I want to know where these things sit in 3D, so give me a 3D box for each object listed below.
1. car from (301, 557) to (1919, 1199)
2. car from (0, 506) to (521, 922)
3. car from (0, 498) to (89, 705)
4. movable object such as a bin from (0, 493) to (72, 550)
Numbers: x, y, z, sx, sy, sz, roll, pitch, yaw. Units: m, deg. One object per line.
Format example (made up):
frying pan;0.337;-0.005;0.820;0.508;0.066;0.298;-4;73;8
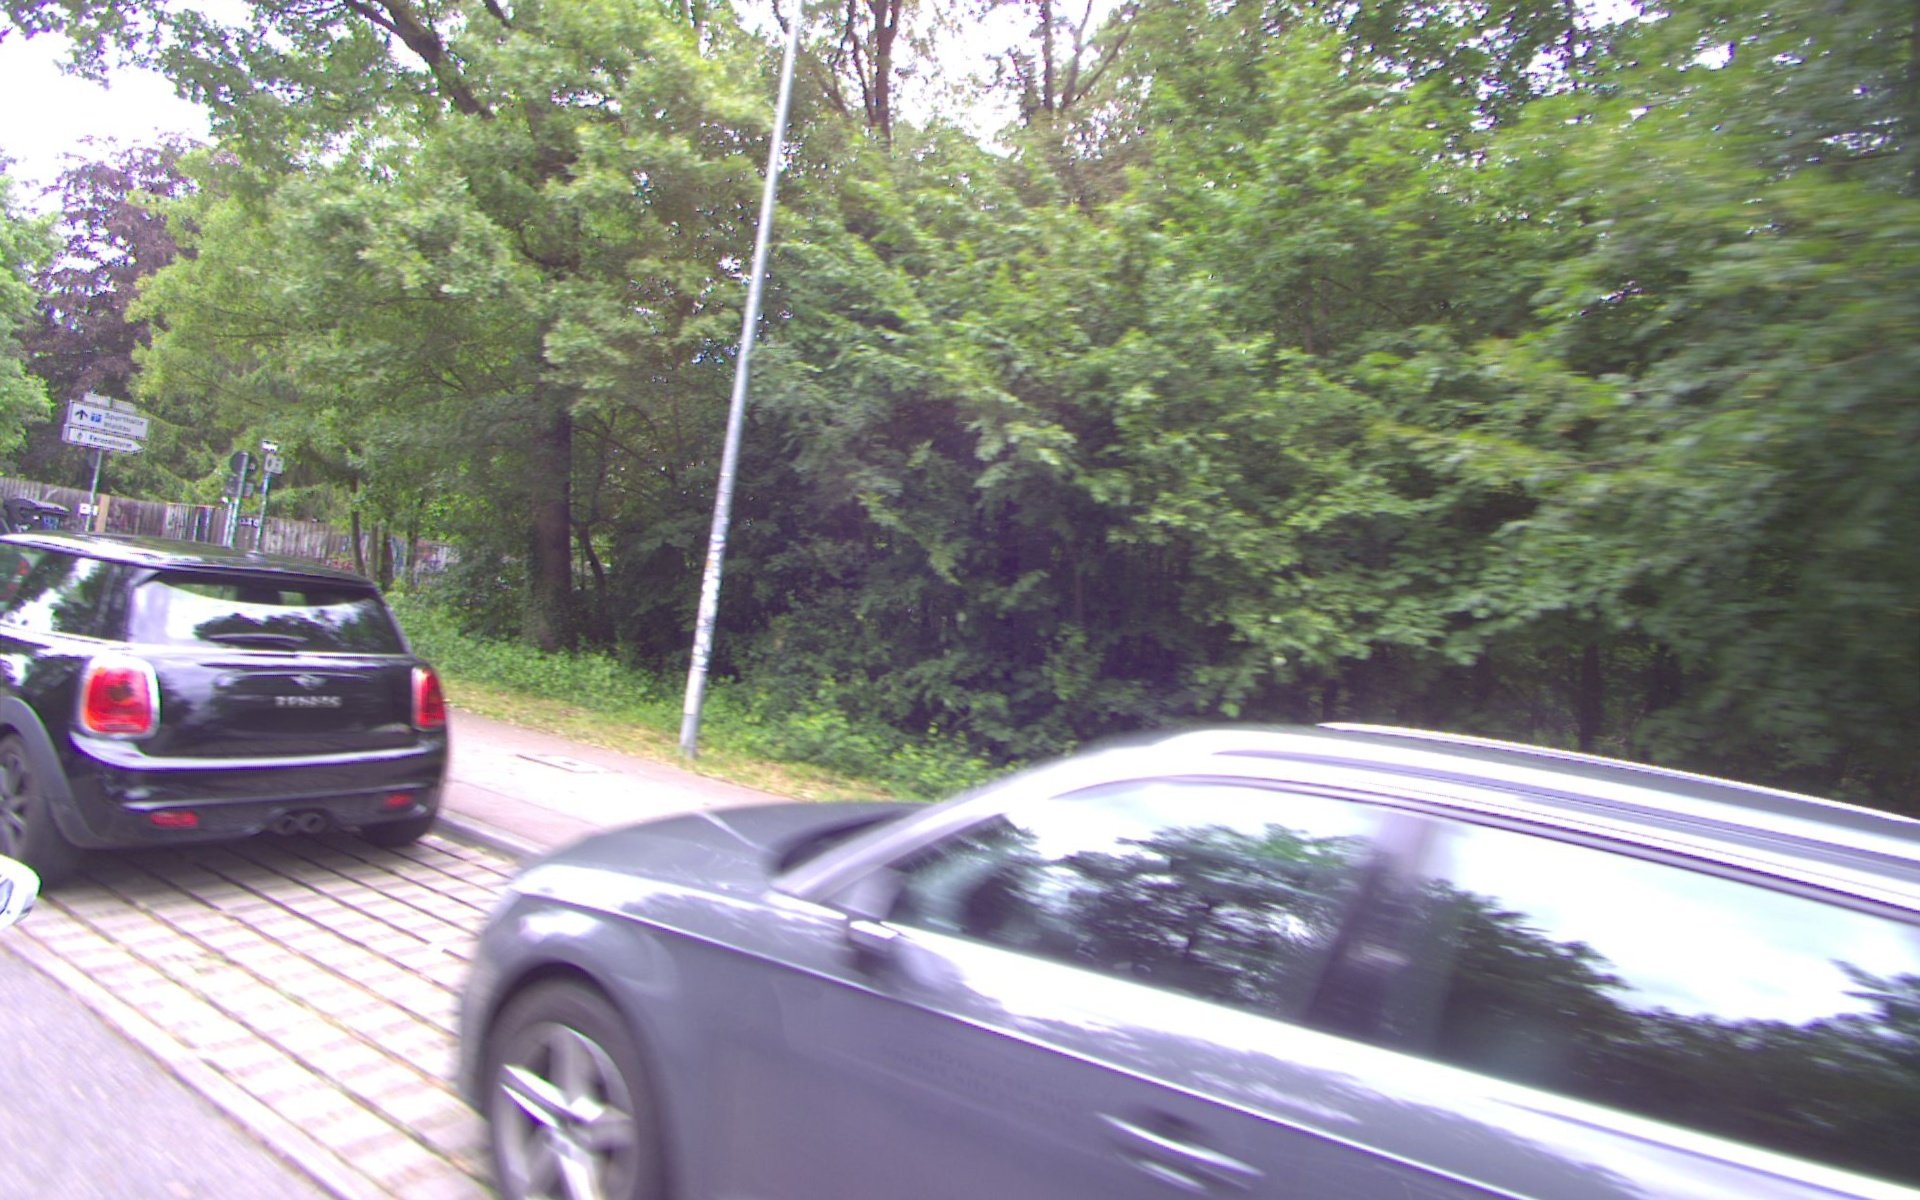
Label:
car;0.544;0.903;2.401;4.427;1.448;1.740;7;-2;32
car;-4.621;0.309;5.523;4.427;1.448;1.740;7;-2;32
car;-9.032;-0.236;8.146;4.164;1.512;1.740;7;-2;32
movable object such as a bin;-27.861;-2.343;30.276;1.062;1.459;1.283;7;-2;-13
